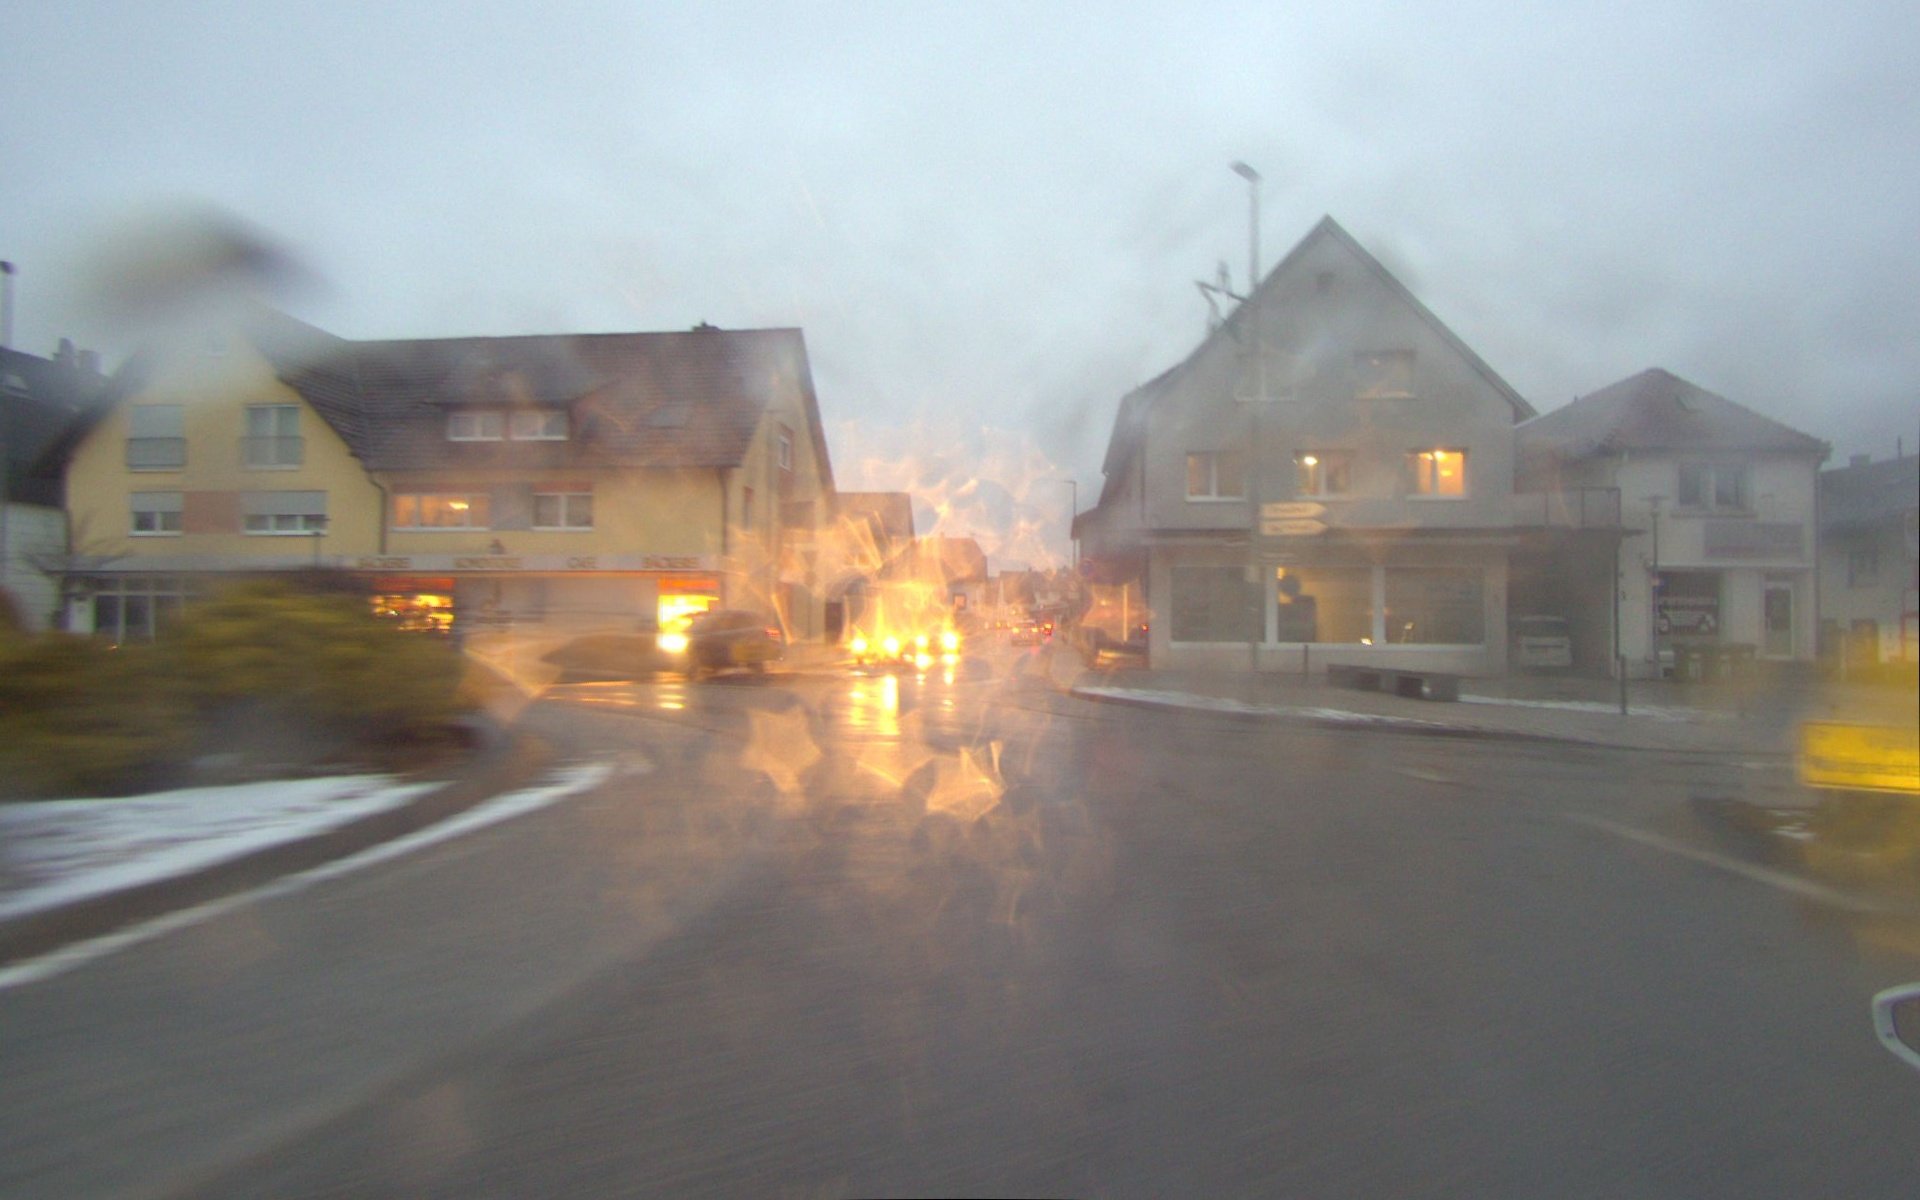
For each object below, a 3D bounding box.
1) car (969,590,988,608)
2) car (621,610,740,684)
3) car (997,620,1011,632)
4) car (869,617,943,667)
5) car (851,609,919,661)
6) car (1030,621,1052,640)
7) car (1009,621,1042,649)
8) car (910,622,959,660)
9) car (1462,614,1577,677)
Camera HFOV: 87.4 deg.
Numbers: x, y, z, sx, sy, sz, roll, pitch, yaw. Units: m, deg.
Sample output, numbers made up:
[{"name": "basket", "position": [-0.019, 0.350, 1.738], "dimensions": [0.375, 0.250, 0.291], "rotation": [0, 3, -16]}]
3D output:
[{"name": "car", "position": [1.852, -0.045, 99.314], "dimensions": [1.842, 1.705, 4.001], "rotation": [0, -1, 3]}, {"name": "car", "position": [-6.859, 1.111, 25.141], "dimensions": [1.961, 1.688, 4.367], "rotation": [0, -1, -3]}, {"name": "car", "position": [6.161, 3.636, 140.721], "dimensions": [1.901, 1.639, 3.867], "rotation": [0, -1, 4]}, {"name": "car", "position": [-1.578, 1.229, 30.444], "dimensions": [1.735, 1.422, 3.917], "rotation": [0, -1, 4]}, {"name": "car", "position": [-2.668, 1.236, 36.750], "dimensions": [1.960, 1.791, 4.370], "rotation": [0, -1, 3]}, {"name": "car", "position": [7.063, 2.628, 87.469], "dimensions": [1.901, 1.639, 3.867], "rotation": [0, -1, 4]}, {"name": "car", "position": [4.024, 2.139, 61.400], "dimensions": [1.901, 1.639, 3.867], "rotation": [0, -1, 4]}, {"name": "car", "position": [-1.207, 1.981, 49.855], "dimensions": [1.960, 1.791, 4.371], "rotation": [0, -1, 5]}, {"name": "car", "position": [17.229, 1.355, 31.155], "dimensions": [1.772, 1.821, 4.003], "rotation": [0, -1, 8]}]
